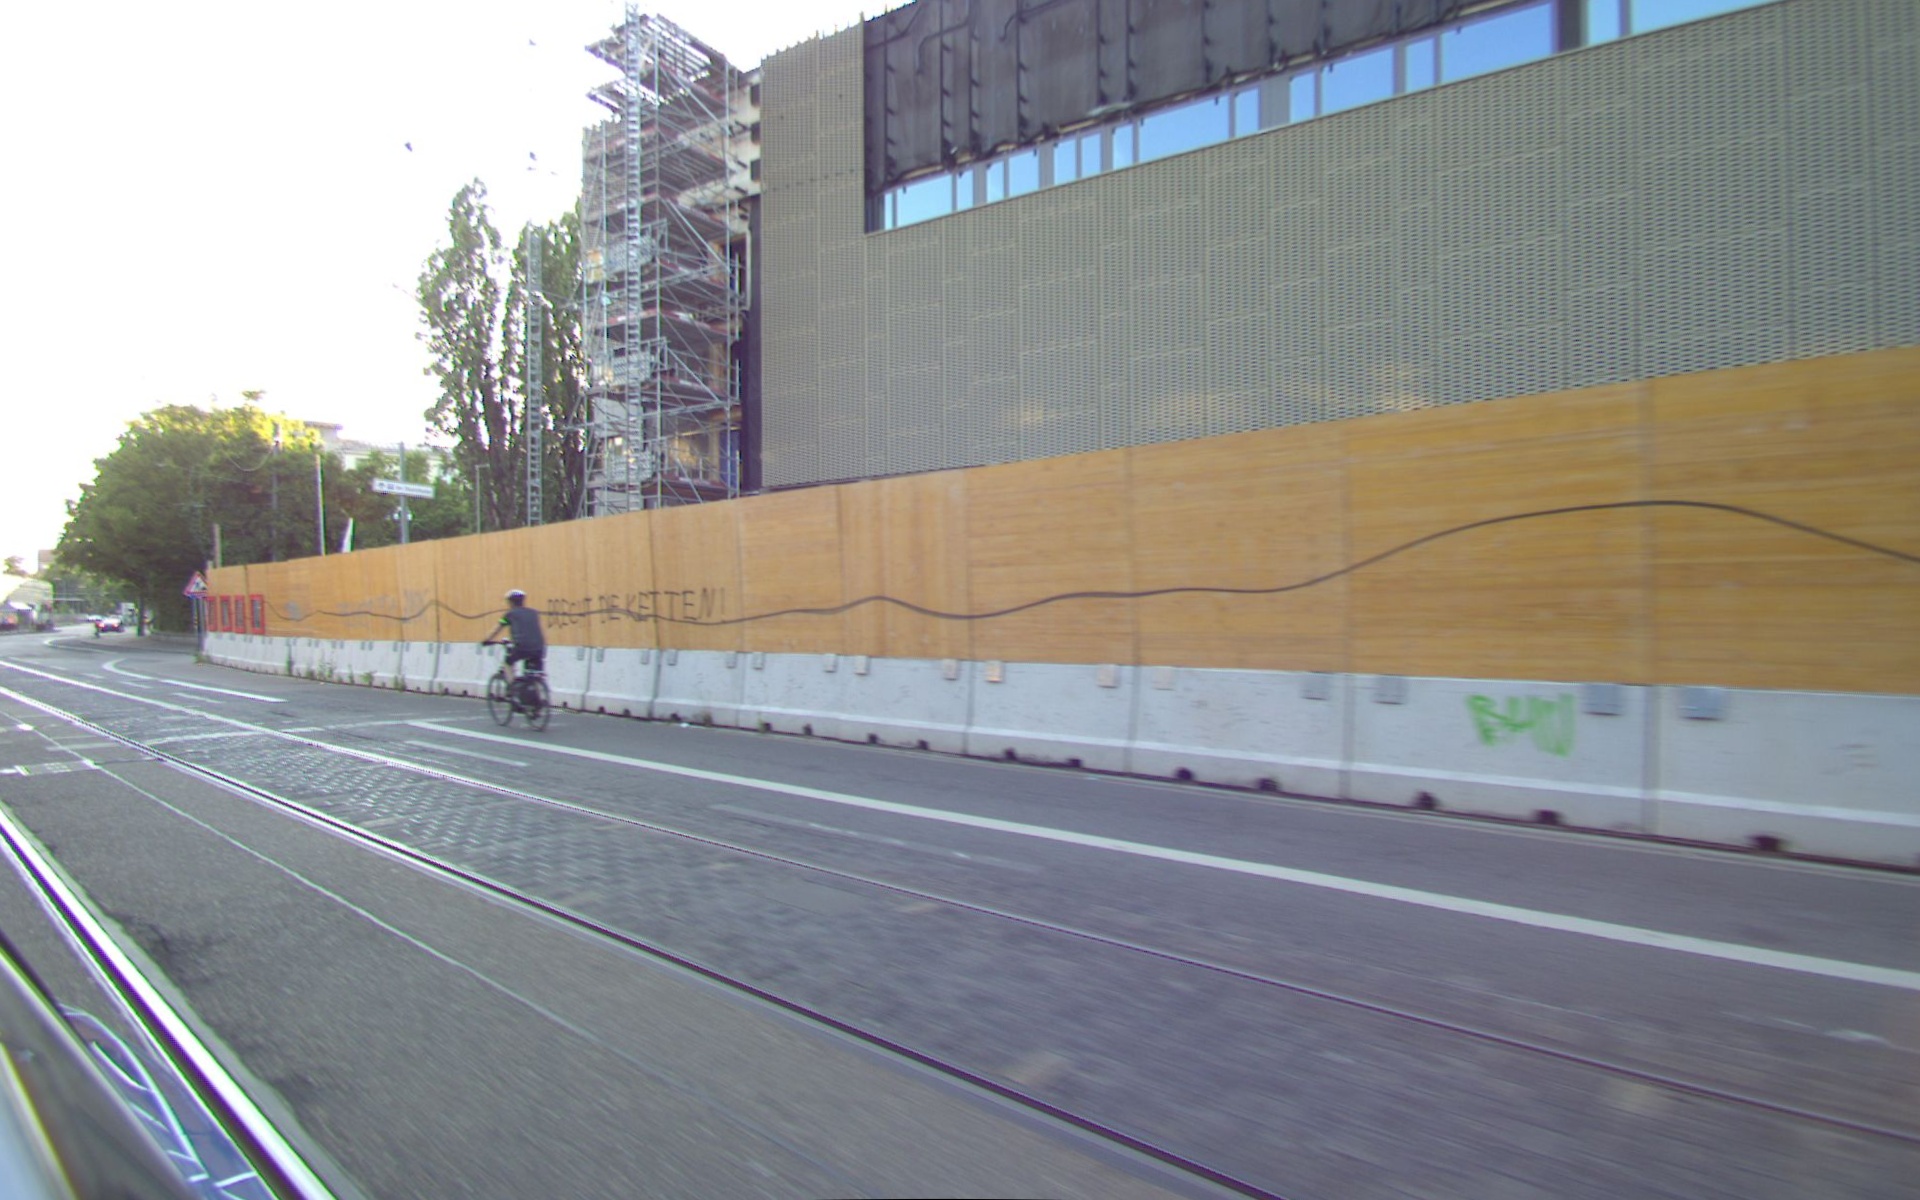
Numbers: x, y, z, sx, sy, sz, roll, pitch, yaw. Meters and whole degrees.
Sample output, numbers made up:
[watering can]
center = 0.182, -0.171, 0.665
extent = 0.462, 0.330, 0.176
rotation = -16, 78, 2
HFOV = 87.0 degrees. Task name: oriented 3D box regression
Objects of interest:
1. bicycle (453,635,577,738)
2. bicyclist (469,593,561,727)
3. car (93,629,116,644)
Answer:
[bicycle]
center = -5.897, 1.089, 13.362
extent = 1.935, 1.237, 0.760
rotation = -1, -1, 42
[bicyclist]
center = -5.869, 0.761, 13.341
extent = 1.018, 1.678, 0.760
rotation = -2, -1, 41
[car]
center = -100.970, 4.316, 119.450
extent = 1.968, 1.697, 4.007
rotation = 0, -1, -39
